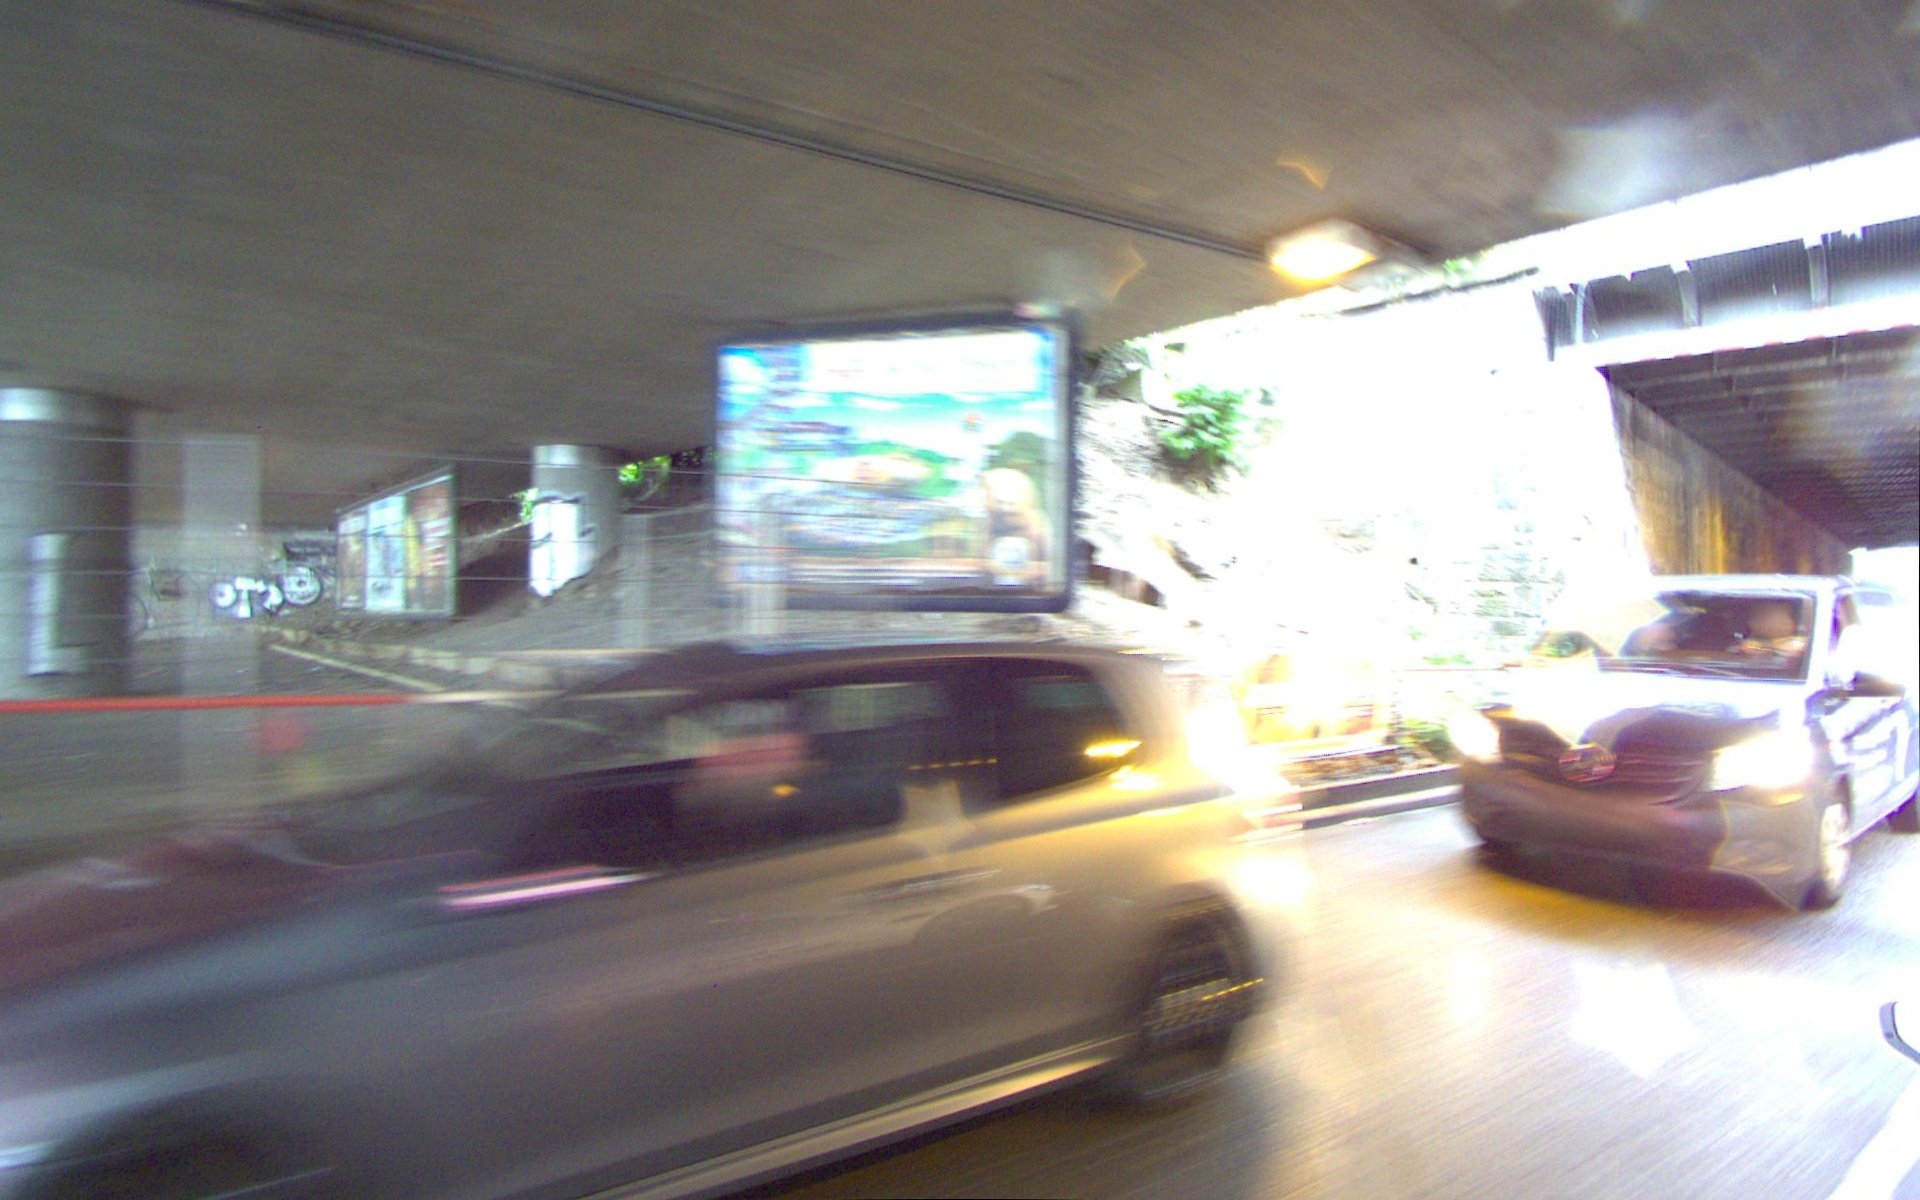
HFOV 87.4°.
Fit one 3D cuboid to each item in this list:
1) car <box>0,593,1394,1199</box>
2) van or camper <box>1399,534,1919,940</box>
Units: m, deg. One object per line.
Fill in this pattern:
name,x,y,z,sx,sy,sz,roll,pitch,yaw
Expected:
car,-0.765,0.790,3.240,4.057,1.484,1.984,2,-2,-30
van or camper,5.296,0.724,7.097,5.096,1.893,1.977,2,-2,-40
